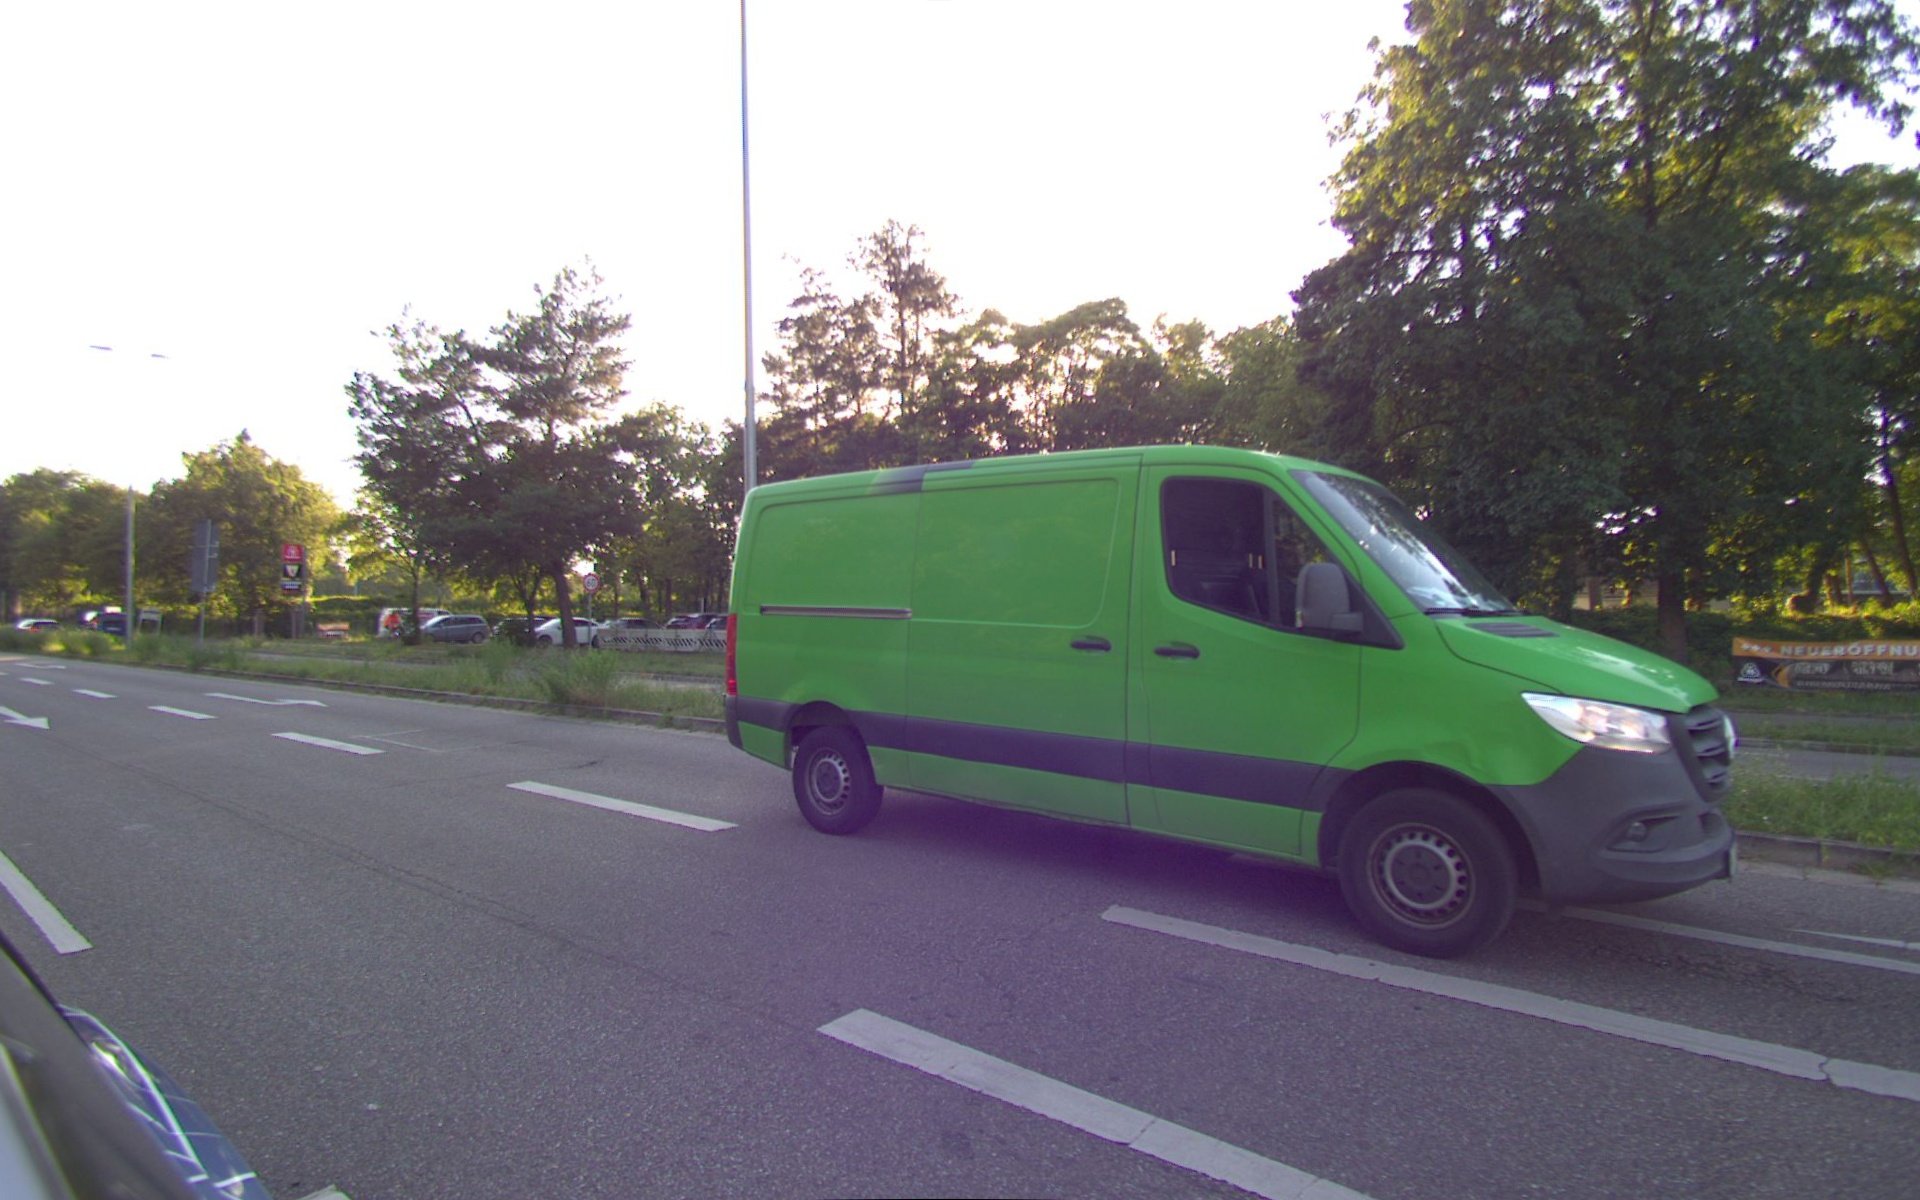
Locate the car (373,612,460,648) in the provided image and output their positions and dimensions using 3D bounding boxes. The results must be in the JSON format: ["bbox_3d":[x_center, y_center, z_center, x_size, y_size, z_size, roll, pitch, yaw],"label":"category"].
[{"bbox_3d":[-30.860,1.686,57.537,1.764,1.959,3.948,-1,-2,38],"label":"car"}]

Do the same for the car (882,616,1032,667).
[{"bbox_3d":[-0.158,1.385,34.334,4.913,1.619,1.975,-1,-2,37],"label":"car"}]

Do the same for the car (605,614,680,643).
[{"bbox_3d":[-18.798,1.693,60.062,1.765,1.663,3.946,-1,-2,40],"label":"car"}]

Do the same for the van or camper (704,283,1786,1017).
[{"bbox_3d":[1.080,0.219,6.022,5.890,2.439,1.973,-1,-2,40],"label":"van or camper"}]

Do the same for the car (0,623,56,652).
[{"bbox_3d":[-50.977,1.992,55.054,4.507,1.506,1.974,-1,-2,39],"label":"car"}]

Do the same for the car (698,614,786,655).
[{"bbox_3d":[-8.596,1.353,40.041,1.657,1.538,3.060,-1,-2,39],"label":"car"}]

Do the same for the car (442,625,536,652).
[{"bbox_3d":[-23.800,1.918,51.207,1.731,1.322,3.947,-1,-2,40],"label":"car"}]

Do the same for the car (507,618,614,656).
[{"bbox_3d":[-19.154,1.765,48.670,1.908,1.767,4.440,-1,-2,40],"label":"car"}]

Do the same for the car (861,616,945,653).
[{"bbox_3d":[-2.674,1.600,47.800,1.765,1.663,3.947,-1,-2,40],"label":"car"}]

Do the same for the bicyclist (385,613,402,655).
[{"bbox_3d":[-25.667,1.558,45.844,0.617,1.888,0.454,-1,-2,36],"label":"bicyclist"}]

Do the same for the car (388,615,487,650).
[{"bbox_3d":[-28.606,1.768,55.490,1.907,1.812,4.443,-1,-2,38],"label":"car"}]

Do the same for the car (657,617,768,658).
[{"bbox_3d":[-10.390,1.544,42.802,1.769,1.629,4.470,-1,-2,37],"label":"car"}]

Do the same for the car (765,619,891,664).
[{"bbox_3d":[-5.001,1.525,38.059,4.702,1.560,1.975,-1,-2,37],"label":"car"}]

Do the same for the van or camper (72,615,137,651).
[{"bbox_3d":[-50.828,1.947,60.108,4.571,2.029,1.975,-1,-2,38],"label":"van or camper"}]

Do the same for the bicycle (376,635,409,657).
[{"bbox_3d":[-25.715,2.070,45.859,2.040,0.940,0.487,-1,-2,36],"label":"bicycle"}]
